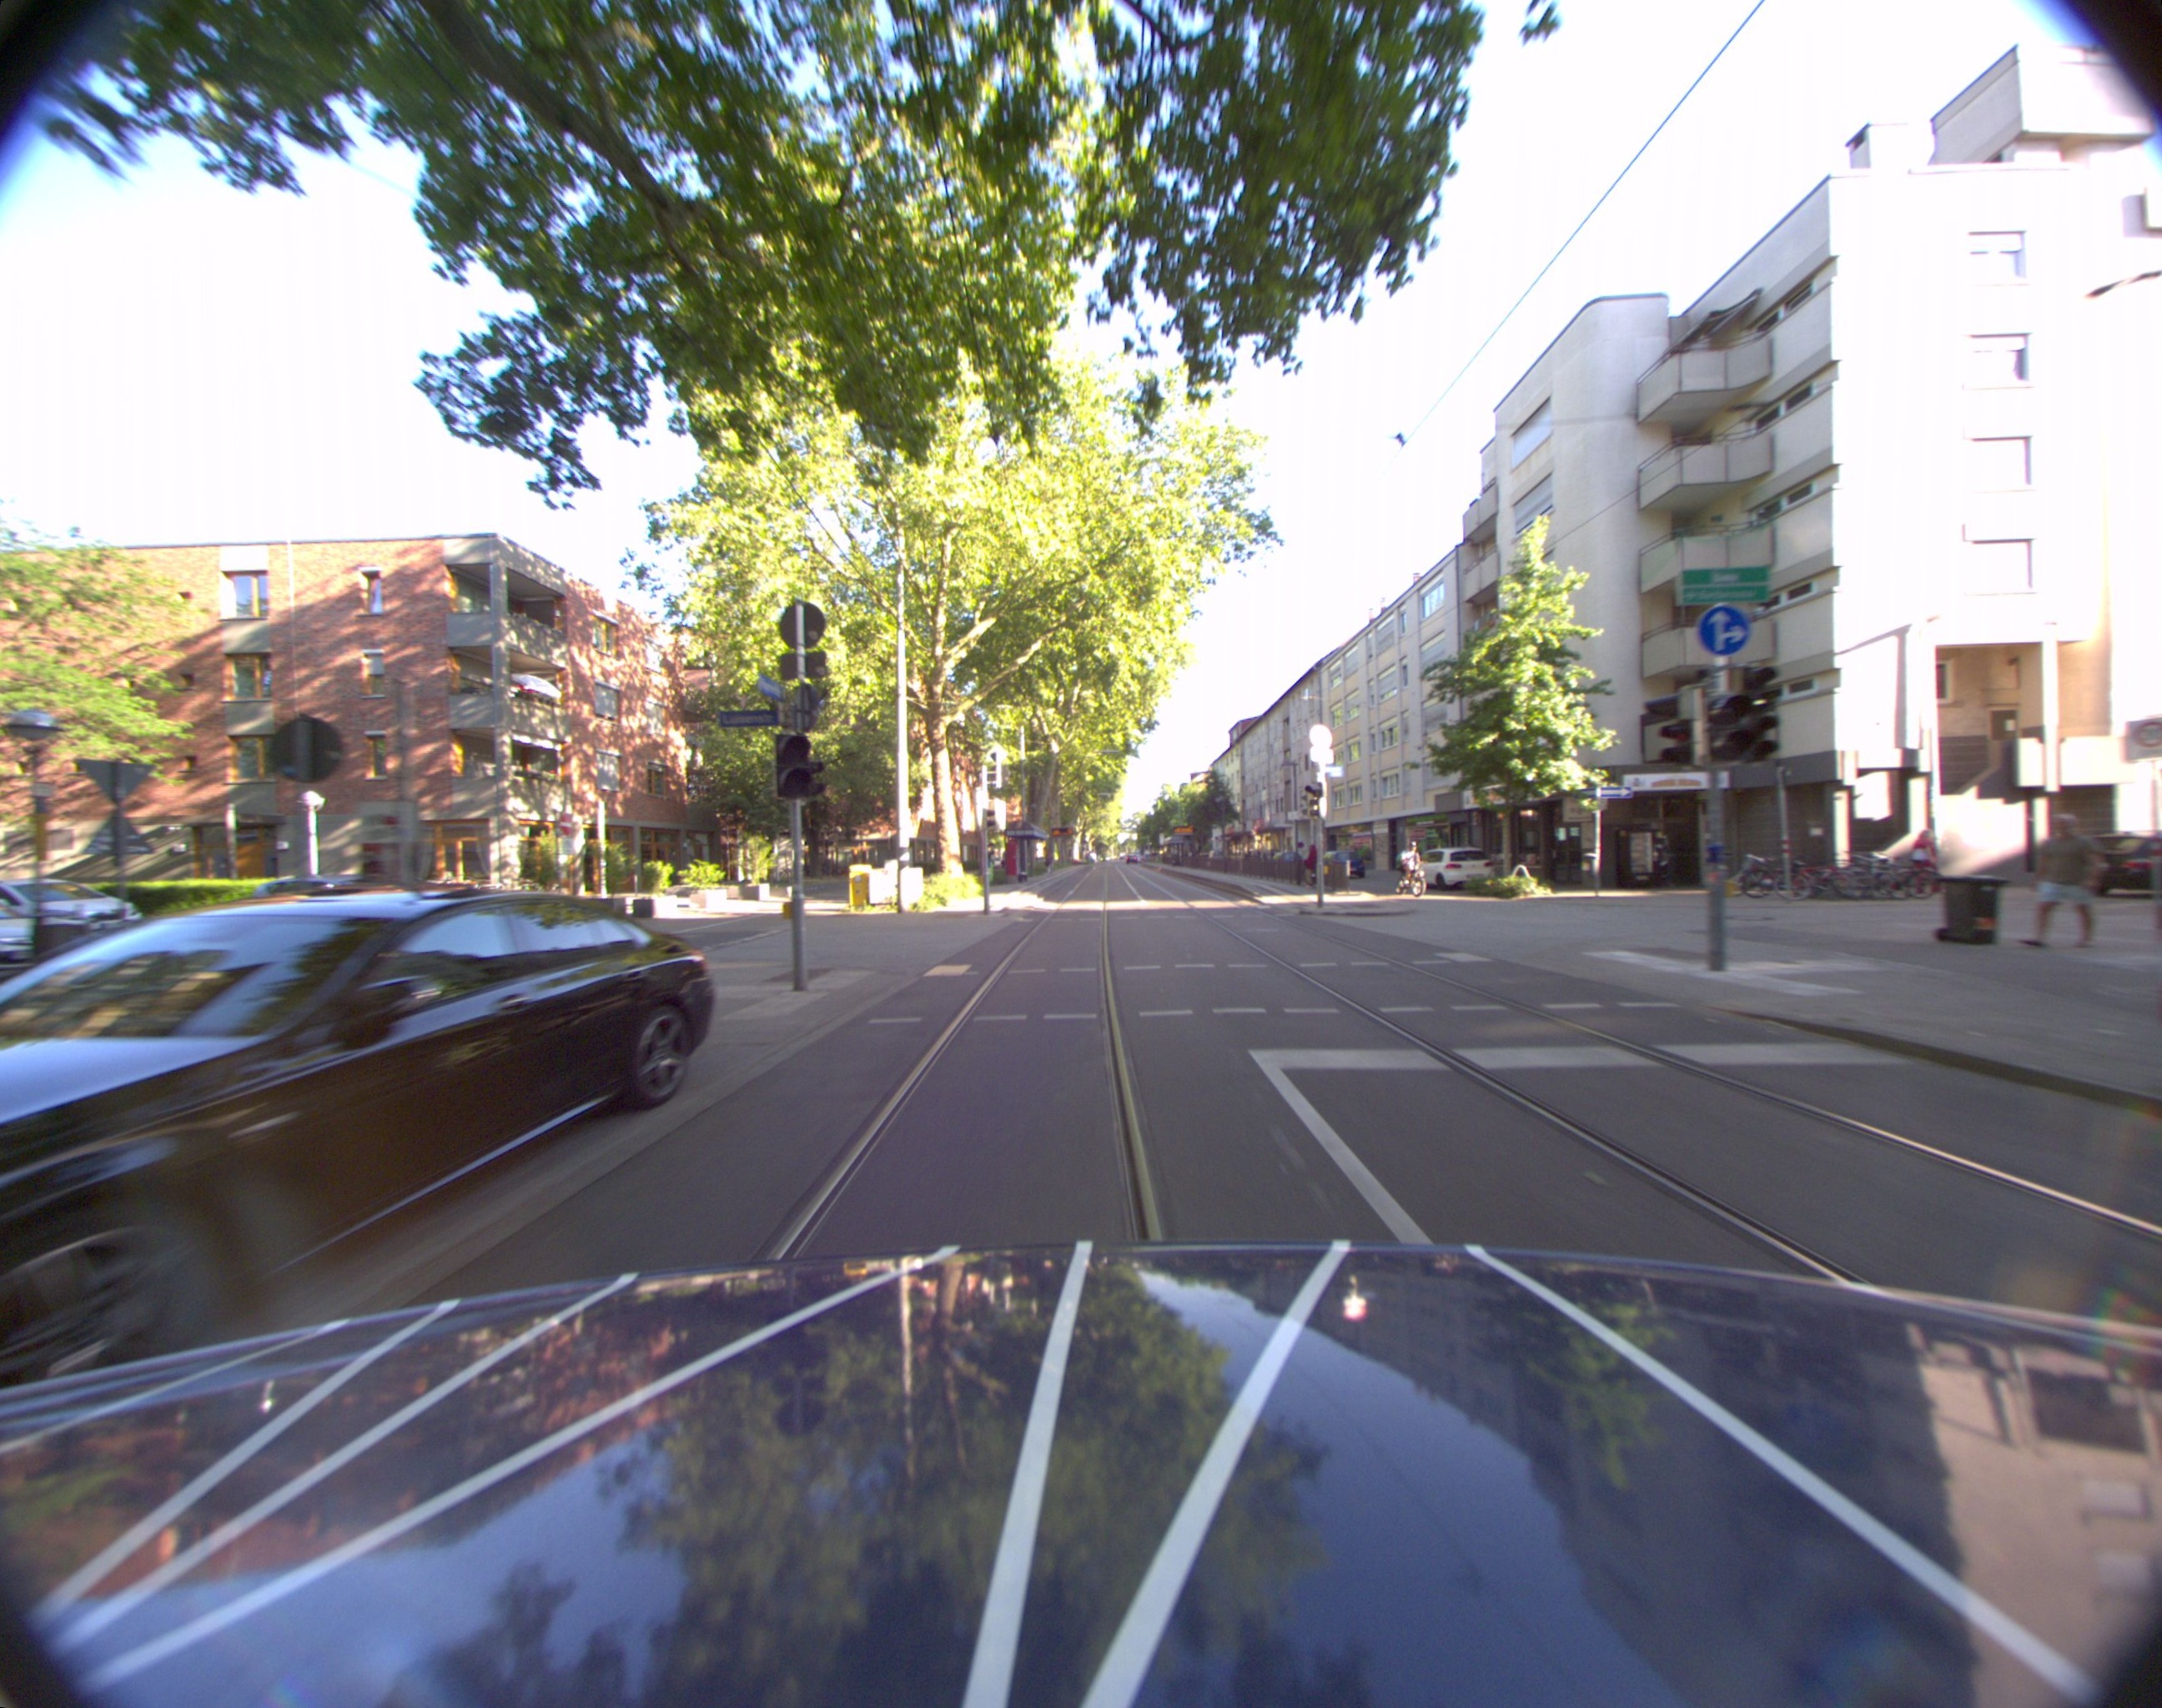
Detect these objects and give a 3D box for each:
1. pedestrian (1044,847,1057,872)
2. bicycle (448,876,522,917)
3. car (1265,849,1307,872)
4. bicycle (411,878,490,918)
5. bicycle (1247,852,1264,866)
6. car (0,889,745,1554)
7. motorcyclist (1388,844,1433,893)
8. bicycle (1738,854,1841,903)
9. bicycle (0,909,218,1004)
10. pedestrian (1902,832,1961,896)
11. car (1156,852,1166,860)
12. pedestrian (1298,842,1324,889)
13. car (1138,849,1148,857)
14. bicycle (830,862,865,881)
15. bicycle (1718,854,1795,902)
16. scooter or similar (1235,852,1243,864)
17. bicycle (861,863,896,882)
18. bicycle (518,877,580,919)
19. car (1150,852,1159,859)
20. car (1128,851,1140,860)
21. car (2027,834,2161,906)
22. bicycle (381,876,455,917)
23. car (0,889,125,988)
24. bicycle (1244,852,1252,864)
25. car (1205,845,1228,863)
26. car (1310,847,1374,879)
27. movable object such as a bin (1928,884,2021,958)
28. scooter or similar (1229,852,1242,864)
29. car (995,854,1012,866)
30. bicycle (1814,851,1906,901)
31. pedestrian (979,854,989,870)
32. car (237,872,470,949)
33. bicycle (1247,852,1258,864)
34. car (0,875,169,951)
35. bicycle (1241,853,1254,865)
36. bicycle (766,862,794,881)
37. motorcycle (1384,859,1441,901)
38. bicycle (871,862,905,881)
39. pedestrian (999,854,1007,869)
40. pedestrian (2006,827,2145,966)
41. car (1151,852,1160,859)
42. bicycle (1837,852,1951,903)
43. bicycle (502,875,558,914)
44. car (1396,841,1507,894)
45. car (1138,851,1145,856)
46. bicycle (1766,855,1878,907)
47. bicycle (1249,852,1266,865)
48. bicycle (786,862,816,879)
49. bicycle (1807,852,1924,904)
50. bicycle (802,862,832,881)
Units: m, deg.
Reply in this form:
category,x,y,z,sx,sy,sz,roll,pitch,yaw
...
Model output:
category,x,y,z,sx,sy,sz,roll,pitch,yaw
pedestrian,-2.062,0.384,51.463,0.768,1.650,0.917,-1,1,-1
bicycle,-18.571,1.307,23.726,0.637,1.150,1.983,0,0,5
car,13.681,0.436,50.892,1.799,1.455,4.282,0,0,2
bicycle,-19.856,1.362,24.004,0.732,1.150,2.051,0,0,2
bicycle,15.698,0.444,68.383,0.561,1.150,2.028,-1,0,-14
car,-3.573,1.027,3.495,1.769,1.454,5.012,-1,0,0
motorcyclist,9.844,0.430,22.734,0.876,1.432,1.016,-1,0,-1
bicycle,17.219,0.592,18.495,1.862,1.150,0.572,-1,1,6
bicycle,-13.433,1.388,10.532,1.799,1.150,0.744,0,1,-20
pedestrian,21.216,0.242,18.969,0.726,1.547,0.727,-1,1,21
car,15.682,0.311,149.176,1.998,1.521,3.679,-1,0,5
pedestrian,7.894,0.382,26.049,0.655,1.576,0.772,-1,1,2
car,11.652,-0.132,143.468,1.766,1.417,4.000,-1,0,2
bicycle,-14.647,1.104,47.711,2.035,1.150,0.572,0,1,7
bicycle,17.344,0.593,19.494,2.039,1.150,0.571,-1,1,-20
scooter or similar,15.545,0.397,74.789,0.446,1.167,1.274,-1,0,-3
bicycle,-12.477,1.144,46.825,2.036,1.150,0.572,0,1,2
bicycle,-16.237,1.322,23.253,0.601,1.150,1.698,0,0,5
car,16.358,0.353,169.675,1.998,1.521,3.679,-1,0,5
car,9.034,0.254,129.937,1.766,1.579,4.000,-1,0,1
car,24.531,0.299,16.968,4.290,1.495,1.895,-1,0,2
bicycle,-20.809,1.311,23.906,0.662,1.150,1.851,0,0,1
car,-18.939,1.387,12.597,3.871,1.542,1.867,-1,-2,2
bicycle,16.547,0.365,75.311,0.513,1.150,1.688,-1,0,5
car,15.064,0.018,84.432,1.808,1.923,4.049,-1,0,1
car,13.486,0.430,39.579,1.960,1.535,4.389,0,0,2
movable object such as a bin,12.083,0.885,10.284,0.540,0.927,0.649,-1,0,-15
scooter or similar,15.453,0.399,76.111,0.447,1.167,1.272,-1,1,-35
car,-9.924,0.784,97.631,1.657,1.499,3.962,-1,0,2
bicycle,19.091,0.528,18.636,1.789,1.150,0.572,-1,1,-5
pedestrian,-9.885,0.800,77.410,0.768,1.650,0.917,-1,1,2
car,-17.518,1.330,18.439,3.871,1.683,1.866,-1,0,2
bicycle,16.026,0.380,70.897,0.494,1.150,1.751,-1,0,-4
car,-25.285,1.415,18.528,3.871,1.683,1.866,-1,0,2
bicycle,15.954,0.466,72.831,0.572,1.150,2.037,-1,0,-4
bicycle,-19.748,1.136,49.926,0.707,1.150,2.039,1,0,11
motorcycle,9.861,0.751,22.684,0.851,1.157,1.915,-1,0,-1
bicycle,-12.116,1.105,47.691,2.034,1.150,0.572,1,1,12
pedestrian,-8.705,0.832,84.962,0.710,1.681,0.749,-1,1,0
pedestrian,12.488,0.510,9.565,0.759,1.661,0.768,-1,1,-3
car,16.183,0.309,164.852,1.998,1.521,3.679,-1,0,5
bicycle,18.946,0.550,17.738,1.786,1.150,0.572,-1,1,13
bicycle,-17.316,1.255,23.917,0.601,1.150,1.697,0,0,-2
car,13.242,0.441,27.474,1.882,1.641,4.358,-3,0,1
car,18.823,-0.103,235.514,1.998,1.521,3.678,-1,0,2
bicycle,17.100,0.606,17.589,1.785,1.150,0.573,-1,1,33
bicycle,15.956,0.429,68.745,0.561,1.150,2.028,-1,0,-14
bicycle,-19.458,1.115,52.778,1.953,1.150,0.732,0,1,-24
bicycle,18.007,0.542,17.497,1.785,1.150,0.573,-1,1,33
bicycle,-16.612,1.106,47.826,1.681,1.150,0.572,0,1,7
